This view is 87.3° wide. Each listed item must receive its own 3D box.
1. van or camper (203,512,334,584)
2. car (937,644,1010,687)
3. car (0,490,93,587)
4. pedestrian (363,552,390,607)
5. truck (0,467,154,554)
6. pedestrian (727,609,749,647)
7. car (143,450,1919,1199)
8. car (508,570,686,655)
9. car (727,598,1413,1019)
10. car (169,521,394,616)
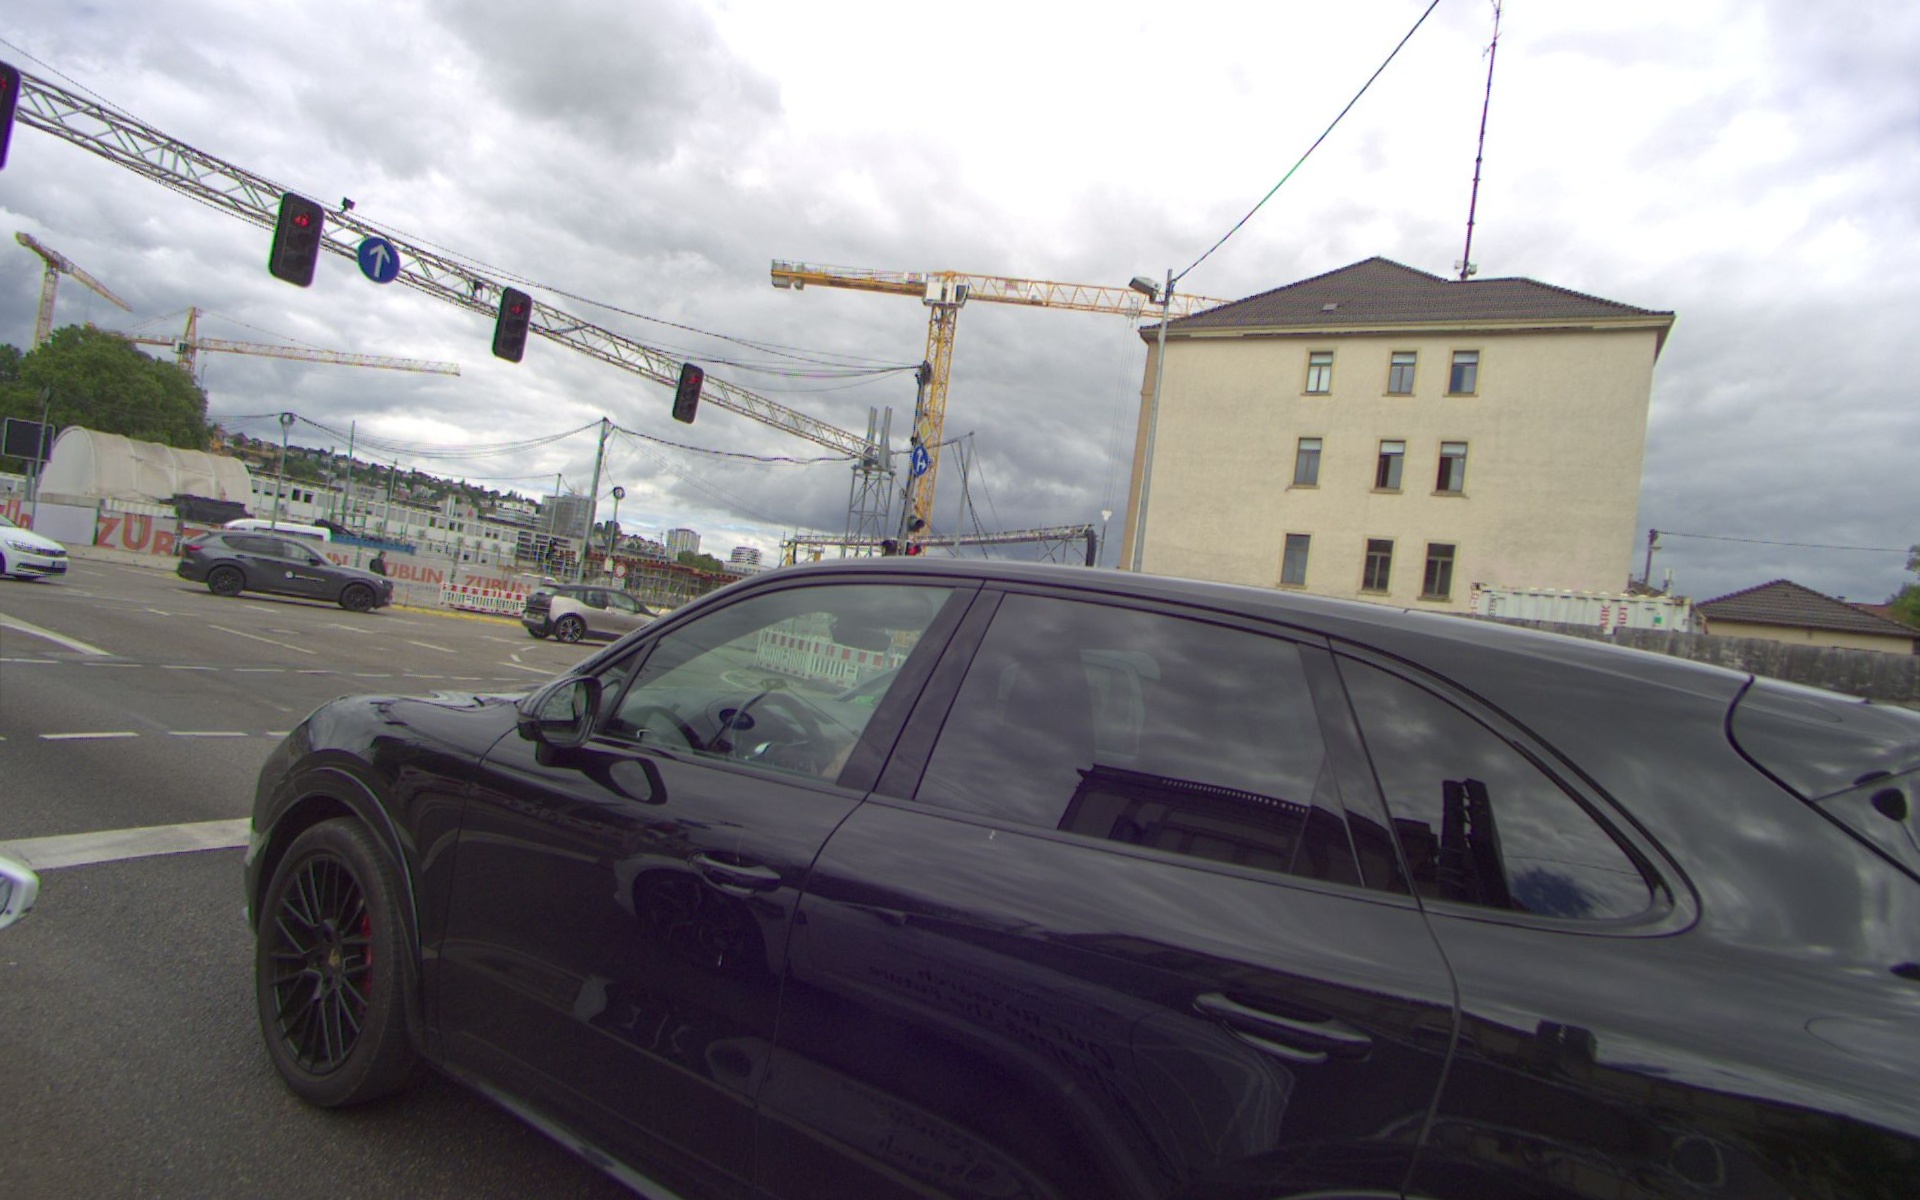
[{"bbox_3d":[-29.788,-2.231,43.404,4.204,2.384,1.976,10,-2,-44],"label":"van or camper"},{"bbox_3d":[0.726,3.253,49.455,1.769,1.687,4.065,7,-3,28],"label":"car"},{"bbox_3d":[-20.275,-1.475,19.740,4.382,1.755,1.877,9,-2,-19],"label":"car"},{"bbox_3d":[-22.401,-0.796,38.612,0.647,2.037,0.513,8,-1,-33],"label":"pedestrian"},{"bbox_3d":[-57.883,-5.860,61.929,3.875,4.086,13.088,8,-2,12],"label":"truck"},{"bbox_3d":[-11.204,1.435,50.802,0.607,1.816,0.654,7,-1,23],"label":"pedestrian"},{"bbox_3d":[0.025,0.722,2.677,4.559,1.705,1.959,7,-2,33],"label":"car"},{"bbox_3d":[-9.807,0.382,27.372,1.776,1.687,4.049,7,-3,43],"label":"car"},{"bbox_3d":[0.582,1.048,6.353,3.818,1.561,1.667,7,-2,33],"label":"car"},{"bbox_3d":[-17.593,-0.794,26.235,4.576,1.689,1.864,10,-3,-38],"label":"car"}]
